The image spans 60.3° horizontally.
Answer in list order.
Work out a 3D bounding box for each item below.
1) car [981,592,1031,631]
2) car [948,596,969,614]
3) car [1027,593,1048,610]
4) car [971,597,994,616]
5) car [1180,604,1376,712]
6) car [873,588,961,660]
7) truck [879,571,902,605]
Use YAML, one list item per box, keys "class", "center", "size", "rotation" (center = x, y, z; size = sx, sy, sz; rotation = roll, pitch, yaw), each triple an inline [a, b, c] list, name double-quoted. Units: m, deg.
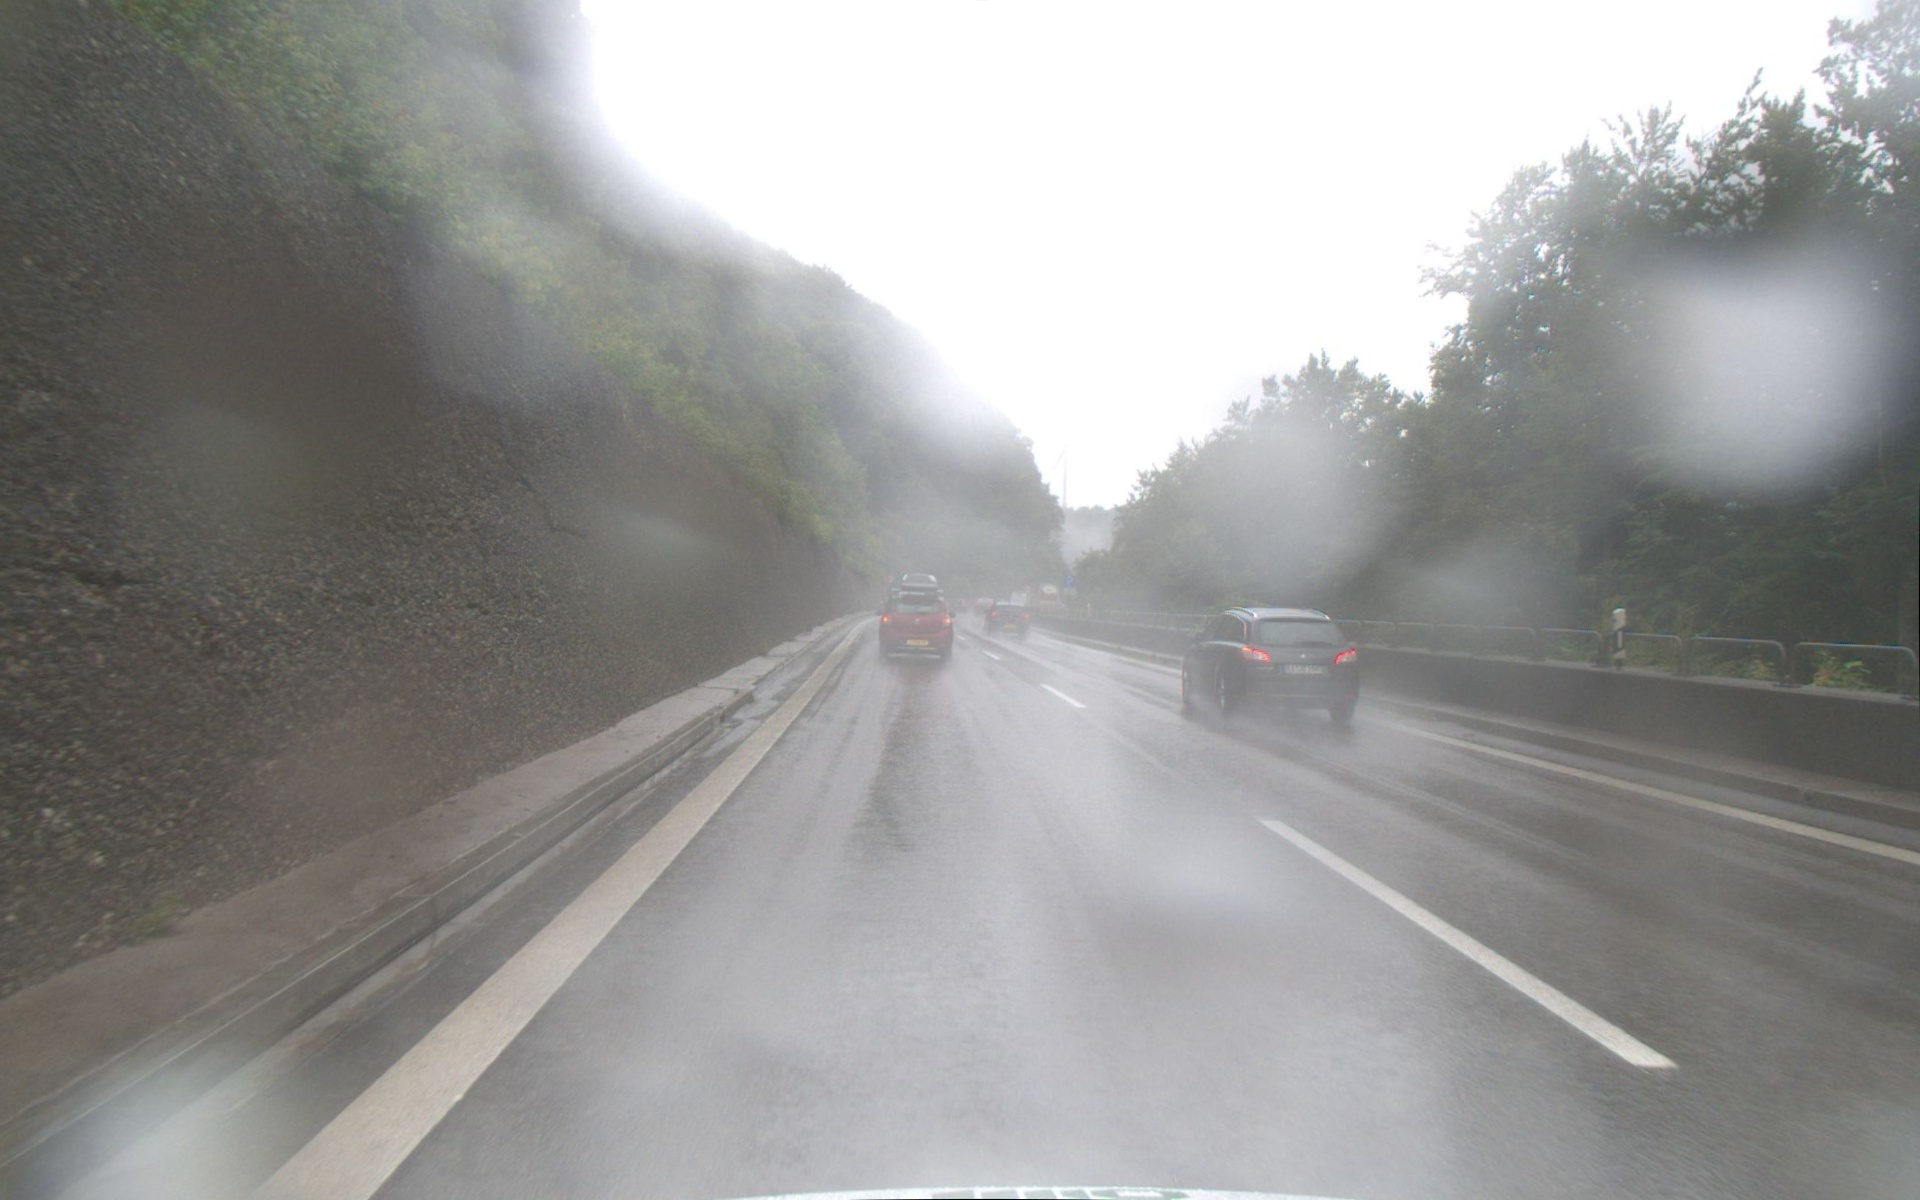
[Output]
- class: "car"
  center: [1.953, 0.478, 70.900]
  size: [1.953, 1.579, 3.999]
  rotation: [0, 0, -1]
- class: "car"
  center: [-0.162, 0.467, 159.862]
  size: [1.953, 1.780, 3.999]
  rotation: [0, 0, -1]
- class: "car"
  center: [9.902, 0.204, 211.300]
  size: [2.399, 2.049, 4.736]
  rotation: [0, 0, 0]
- class: "car"
  center: [1.971, 0.570, 148.921]
  size: [1.953, 1.604, 3.999]
  rotation: [0, 0, -1]
- class: "car"
  center: [4.244, 0.735, 22.670]
  size: [1.764, 1.330, 3.998]
  rotation: [0, 0, -3]
- class: "car"
  center: [-1.020, 0.562, 38.804]
  size: [1.953, 1.579, 3.998]
  rotation: [-1, -1, -2]
- class: "truck"
  center: [-5.843, -1.012, 139.096]
  size: [1.953, 2.799, 5.584]
  rotation: [0, 0, -2]
